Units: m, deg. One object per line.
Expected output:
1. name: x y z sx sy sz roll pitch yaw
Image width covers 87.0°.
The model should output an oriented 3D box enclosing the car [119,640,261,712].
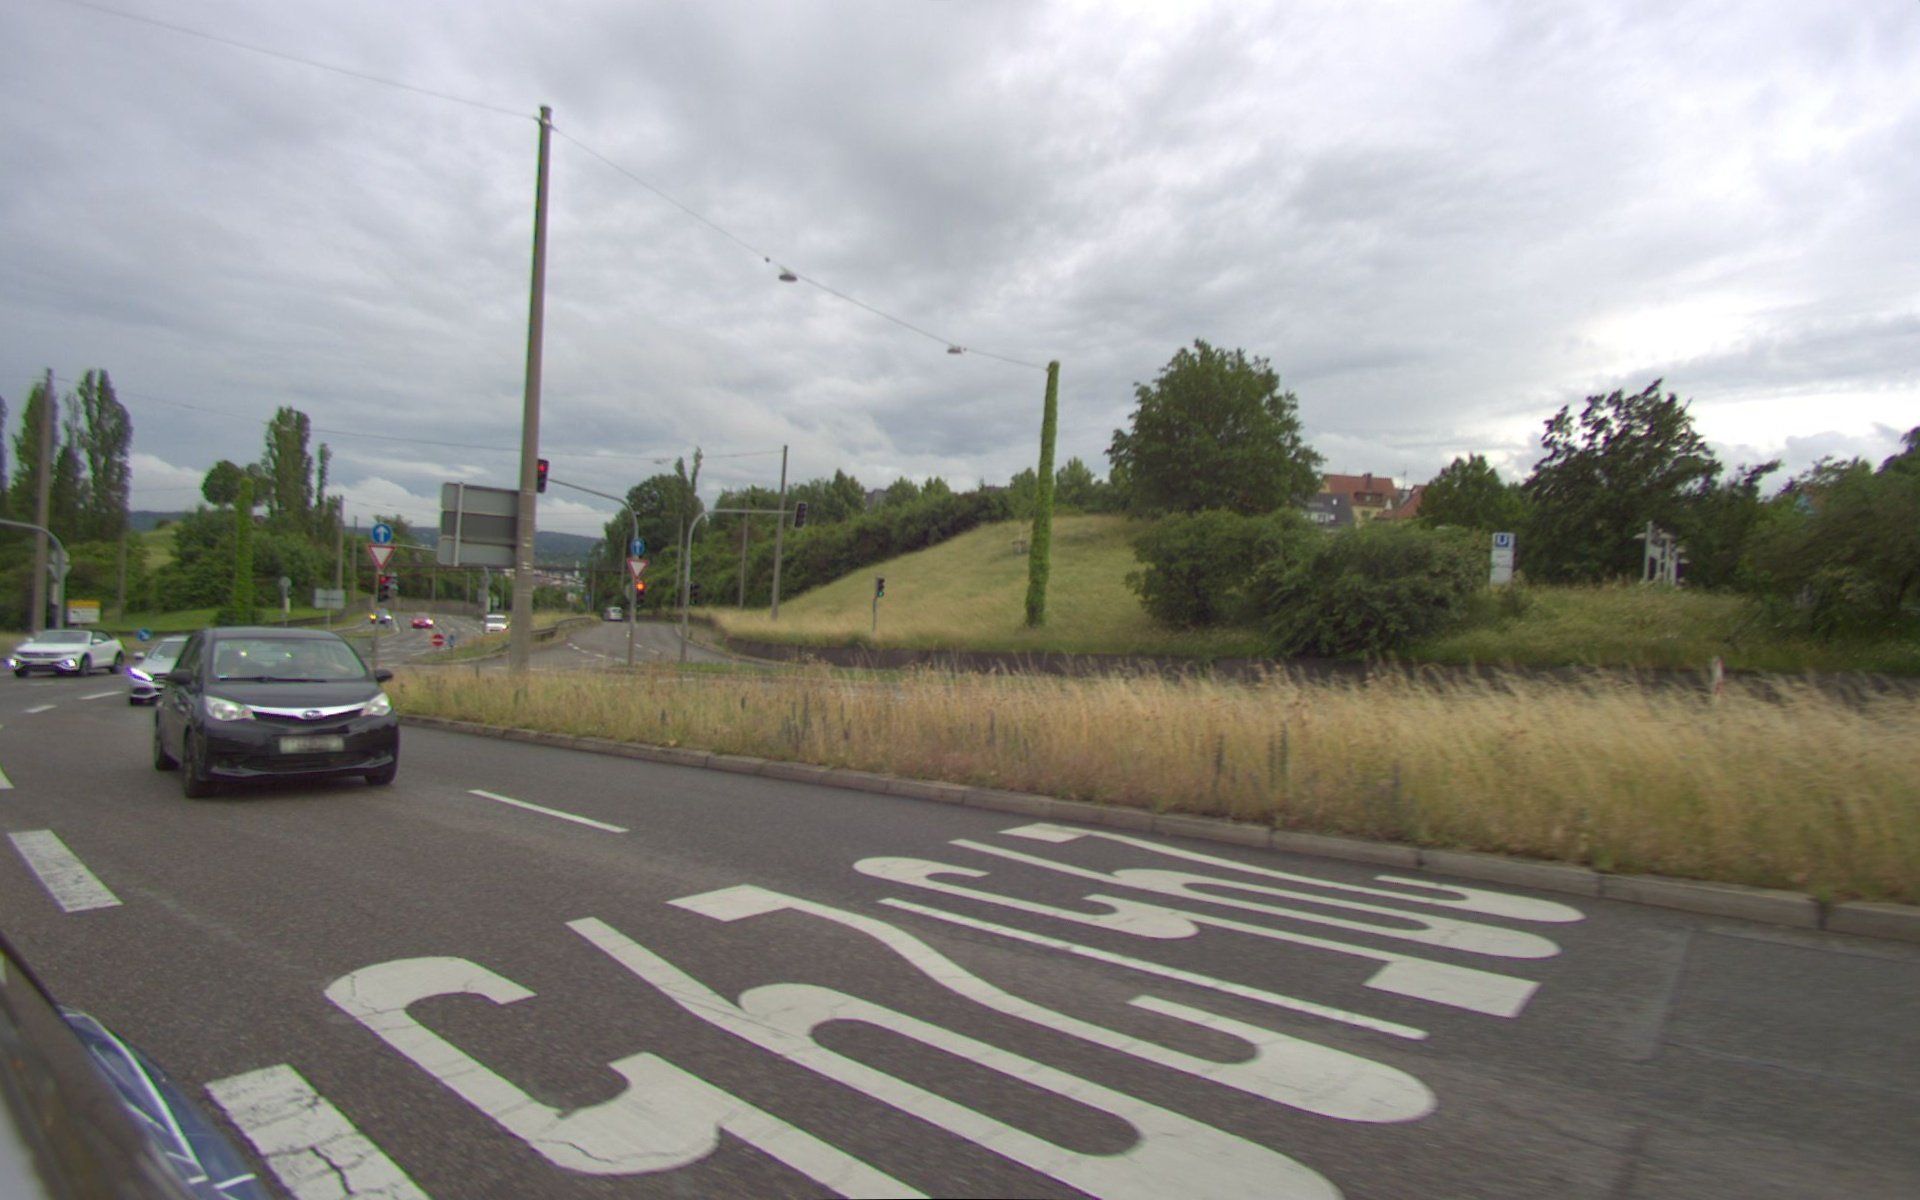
1. car: -17.006 1.630 22.575 1.966 1.419 4.537 1 -3 -31

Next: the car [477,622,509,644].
1. car: -37.662 2.613 81.607 1.966 1.705 4.301 1 -2 -30

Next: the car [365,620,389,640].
1. car: -59.896 3.045 104.024 1.965 2.029 4.012 0 -2 -28

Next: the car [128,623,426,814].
1. car: -7.186 1.089 10.479 1.775 1.577 4.045 4 -5 -45

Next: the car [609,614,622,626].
1. car: -44.269 2.563 130.122 1.535 1.443 3.240 -1 0 -19

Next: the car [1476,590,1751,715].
1. car: 11.720 0.910 18.311 3.993 2.029 1.975 0 -3 37

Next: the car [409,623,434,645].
1. car: -51.495 3.257 96.713 1.966 2.029 4.012 1 -2 -30

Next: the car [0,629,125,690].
1. car: -29.074 1.873 32.888 1.812 1.551 3.831 0 3 -21

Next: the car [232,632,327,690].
1. car: -22.339 1.945 33.364 1.895 1.748 4.038 0 -2 -24
